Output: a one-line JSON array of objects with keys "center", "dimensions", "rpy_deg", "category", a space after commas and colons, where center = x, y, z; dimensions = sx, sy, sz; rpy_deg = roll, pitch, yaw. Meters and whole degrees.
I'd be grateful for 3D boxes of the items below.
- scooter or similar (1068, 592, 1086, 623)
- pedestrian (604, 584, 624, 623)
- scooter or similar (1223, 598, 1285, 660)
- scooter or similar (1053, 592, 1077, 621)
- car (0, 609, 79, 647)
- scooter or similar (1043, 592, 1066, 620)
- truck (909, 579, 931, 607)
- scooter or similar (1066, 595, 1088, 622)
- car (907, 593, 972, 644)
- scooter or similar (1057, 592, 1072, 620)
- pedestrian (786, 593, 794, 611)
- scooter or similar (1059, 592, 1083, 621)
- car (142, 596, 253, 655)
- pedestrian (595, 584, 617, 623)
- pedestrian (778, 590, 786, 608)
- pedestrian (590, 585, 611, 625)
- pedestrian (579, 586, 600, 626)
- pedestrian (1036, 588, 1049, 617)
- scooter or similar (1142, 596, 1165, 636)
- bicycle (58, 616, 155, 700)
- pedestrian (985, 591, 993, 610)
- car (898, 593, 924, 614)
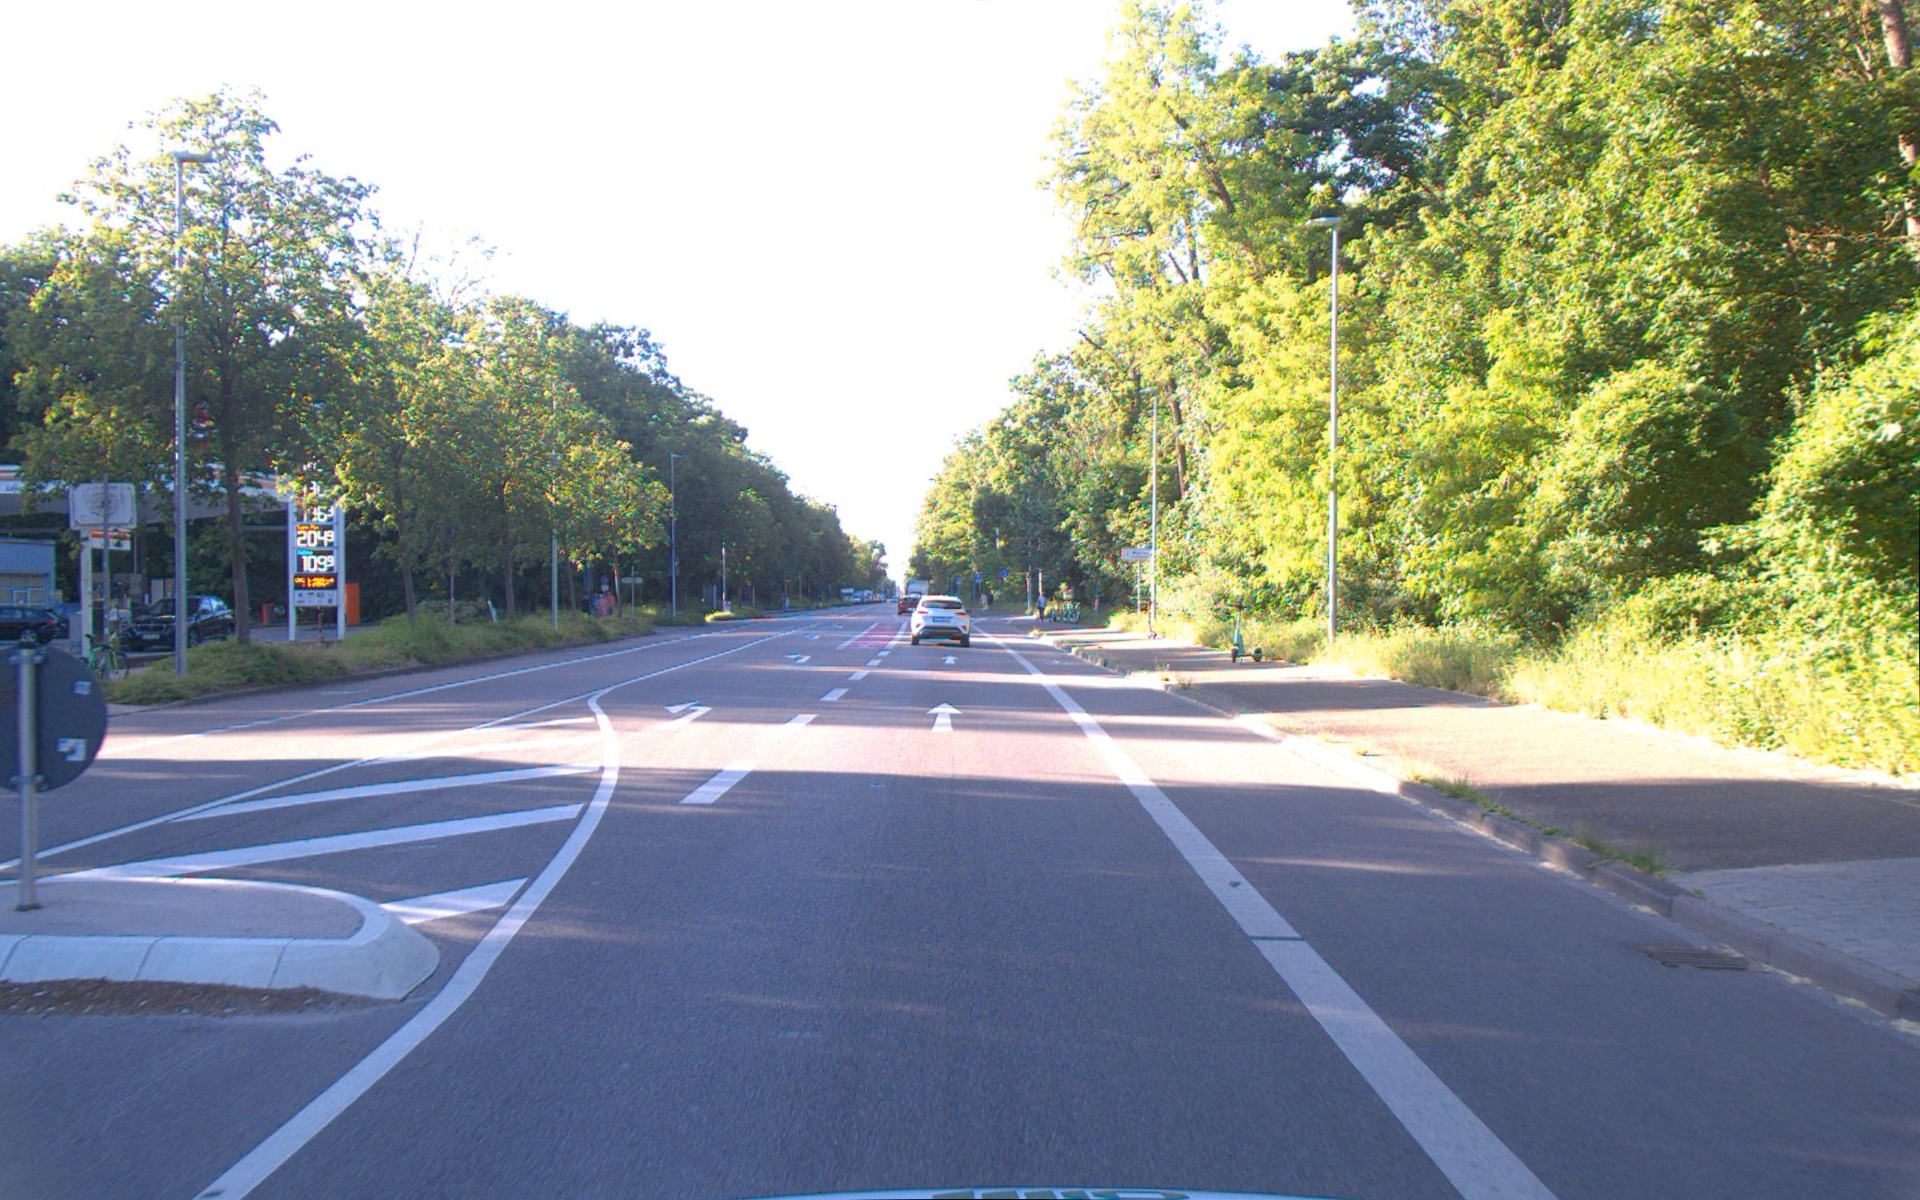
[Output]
[{"center": [5.559, 0.354, 78.743], "dimensions": [0.668, 1.448, 1.681], "rpy_deg": [-1, 0, -2], "category": "scooter or similar"}, {"center": [-18.413, 0.190, 87.903], "dimensions": [0.703, 2.049, 0.746], "rpy_deg": [-1, 0, 29], "category": "pedestrian"}, {"center": [6.251, 0.607, 35.135], "dimensions": [0.526, 1.272, 1.530], "rpy_deg": [-1, 0, 45], "category": "scooter or similar"}, {"center": [5.366, 0.329, 84.762], "dimensions": [0.671, 1.448, 1.674], "rpy_deg": [-1, 0, -17], "category": "scooter or similar"}, {"center": [-35.489, 1.066, 62.521], "dimensions": [3.563, 1.377, 1.709], "rpy_deg": [-1, 0, -16], "category": "car"}, {"center": [4.929, 0.329, 86.430], "dimensions": [0.671, 1.448, 1.674], "rpy_deg": [-1, 0, -17], "category": "scooter or similar"}, {"center": [-5.369, -0.890, 220.352], "dimensions": [2.743, 3.632, 8.030], "rpy_deg": [1, 0, -3], "category": "truck"}, {"center": [5.689, 0.405, 80.600], "dimensions": [0.459, 1.329, 1.470], "rpy_deg": [-1, 0, -23], "category": "scooter or similar"}, {"center": [-0.680, 0.539, 51.406], "dimensions": [1.727, 1.485, 3.814], "rpy_deg": [1, 0, -5], "category": "car"}, {"center": [5.530, 0.309, 87.757], "dimensions": [0.668, 1.448, 1.681], "rpy_deg": [-1, 0, -1], "category": "scooter or similar"}, {"center": [-19.242, 0.204, 187.491], "dimensions": [0.814, 2.049, 1.269], "rpy_deg": [-1, 0, -2], "category": "pedestrian"}, {"center": [5.531, 0.333, 82.694], "dimensions": [0.671, 1.448, 1.675], "rpy_deg": [-1, 0, -15], "category": "scooter or similar"}, {"center": [-23.376, 0.747, 50.884], "dimensions": [1.677, 1.721, 4.449], "rpy_deg": [-1, 0, -5], "category": "car"}, {"center": [-18.776, 0.196, 87.739], "dimensions": [0.703, 2.049, 0.873], "rpy_deg": [-1, 0, 29], "category": "pedestrian"}, {"center": [-20.185, -0.130, 187.455], "dimensions": [0.846, 2.049, 1.269], "rpy_deg": [-1, 0, -2], "category": "pedestrian"}, {"center": [-18.703, 0.251, 86.018], "dimensions": [0.704, 2.049, 0.795], "rpy_deg": [-1, 0, 33], "category": "pedestrian"}, {"center": [-19.123, 0.315, 85.313], "dimensions": [0.704, 2.049, 0.795], "rpy_deg": [-1, 0, 32], "category": "pedestrian"}, {"center": [4.645, 0.154, 93.111], "dimensions": [0.739, 1.591, 0.802], "rpy_deg": [-1, 0, 3], "category": "pedestrian"}, {"center": [6.196, 0.506, 52.989], "dimensions": [0.522, 1.272, 1.541], "rpy_deg": [-1, 0, -1], "category": "scooter or similar"}, {"center": [-13.778, 0.913, 26.767], "dimensions": [0.642, 1.272, 2.156], "rpy_deg": [-1, 0, -6], "category": "bicycle"}, {"center": [2.592, 0.056, 148.610], "dimensions": [0.684, 1.682, 0.876], "rpy_deg": [-1, 0, -2], "category": "pedestrian"}, {"center": [-3.753, 0.232, 126.681], "dimensions": [1.953, 1.545, 3.999], "rpy_deg": [-1, 0, -1], "category": "car"}]
